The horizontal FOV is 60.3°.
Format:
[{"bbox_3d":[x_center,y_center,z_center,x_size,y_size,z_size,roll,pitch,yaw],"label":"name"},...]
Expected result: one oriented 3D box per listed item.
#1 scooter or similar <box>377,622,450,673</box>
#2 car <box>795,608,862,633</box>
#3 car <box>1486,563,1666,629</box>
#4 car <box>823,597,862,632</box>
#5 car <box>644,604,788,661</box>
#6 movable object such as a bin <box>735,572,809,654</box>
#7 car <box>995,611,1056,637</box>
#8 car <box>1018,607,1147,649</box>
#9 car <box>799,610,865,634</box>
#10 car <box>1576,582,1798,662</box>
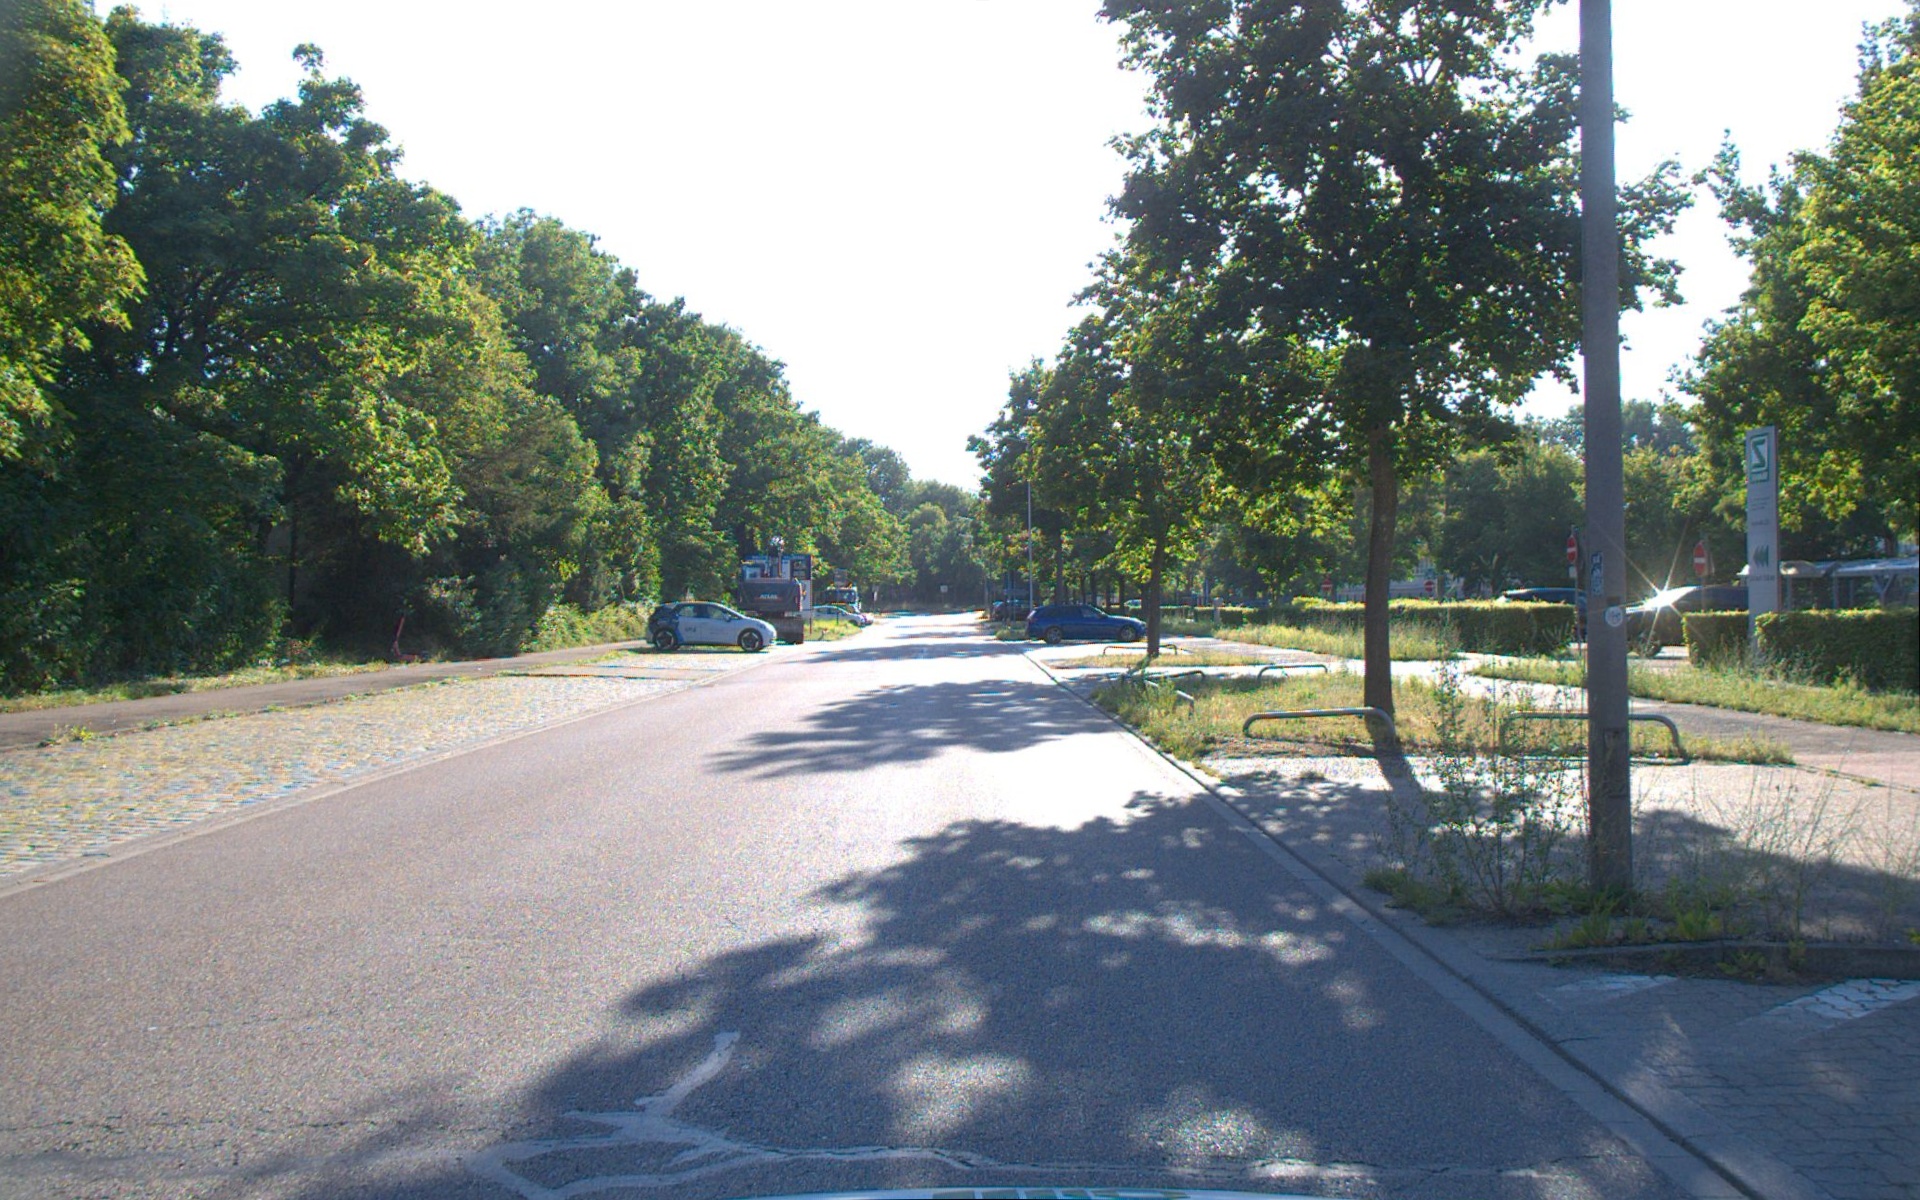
[{"bbox_3d":[-12.758,1.099,38.654,0.566,1.165,1.577,-1,-1,39],"label":"scooter or similar"},{"bbox_3d":[-8.467,1.320,106.319,4.276,1.505,1.997,-1,0,-7],"label":"car"},{"bbox_3d":[17.035,-0.118,45.880,4.268,1.735,2.000,-1,0,1],"label":"car"},{"bbox_3d":[-8.270,1.007,115.788,2.469,2.428,4.366,-1,0,-7],"label":"car"},{"bbox_3d":[-7.848,1.032,53.526,4.269,1.574,2.000,3,0,0],"label":"car"},{"bbox_3d":[-7.471,0.527,66.238,2.783,3.122,4.922,-1,0,-5],"label":"movable object such as a bin"},{"bbox_3d":[4.691,1.724,118.997,4.270,1.759,1.999,1,0,-1],"label":"car"},{"bbox_3d":[4.634,1.053,63.040,4.742,1.505,2.000,-1,0,0],"label":"car"},{"bbox_3d":[-8.463,1.441,109.015,4.276,1.505,1.997,-1,0,-7],"label":"car"},{"bbox_3d":[17.181,0.506,39.225,4.340,1.735,2.058,1,0,-2],"label":"car"}]
